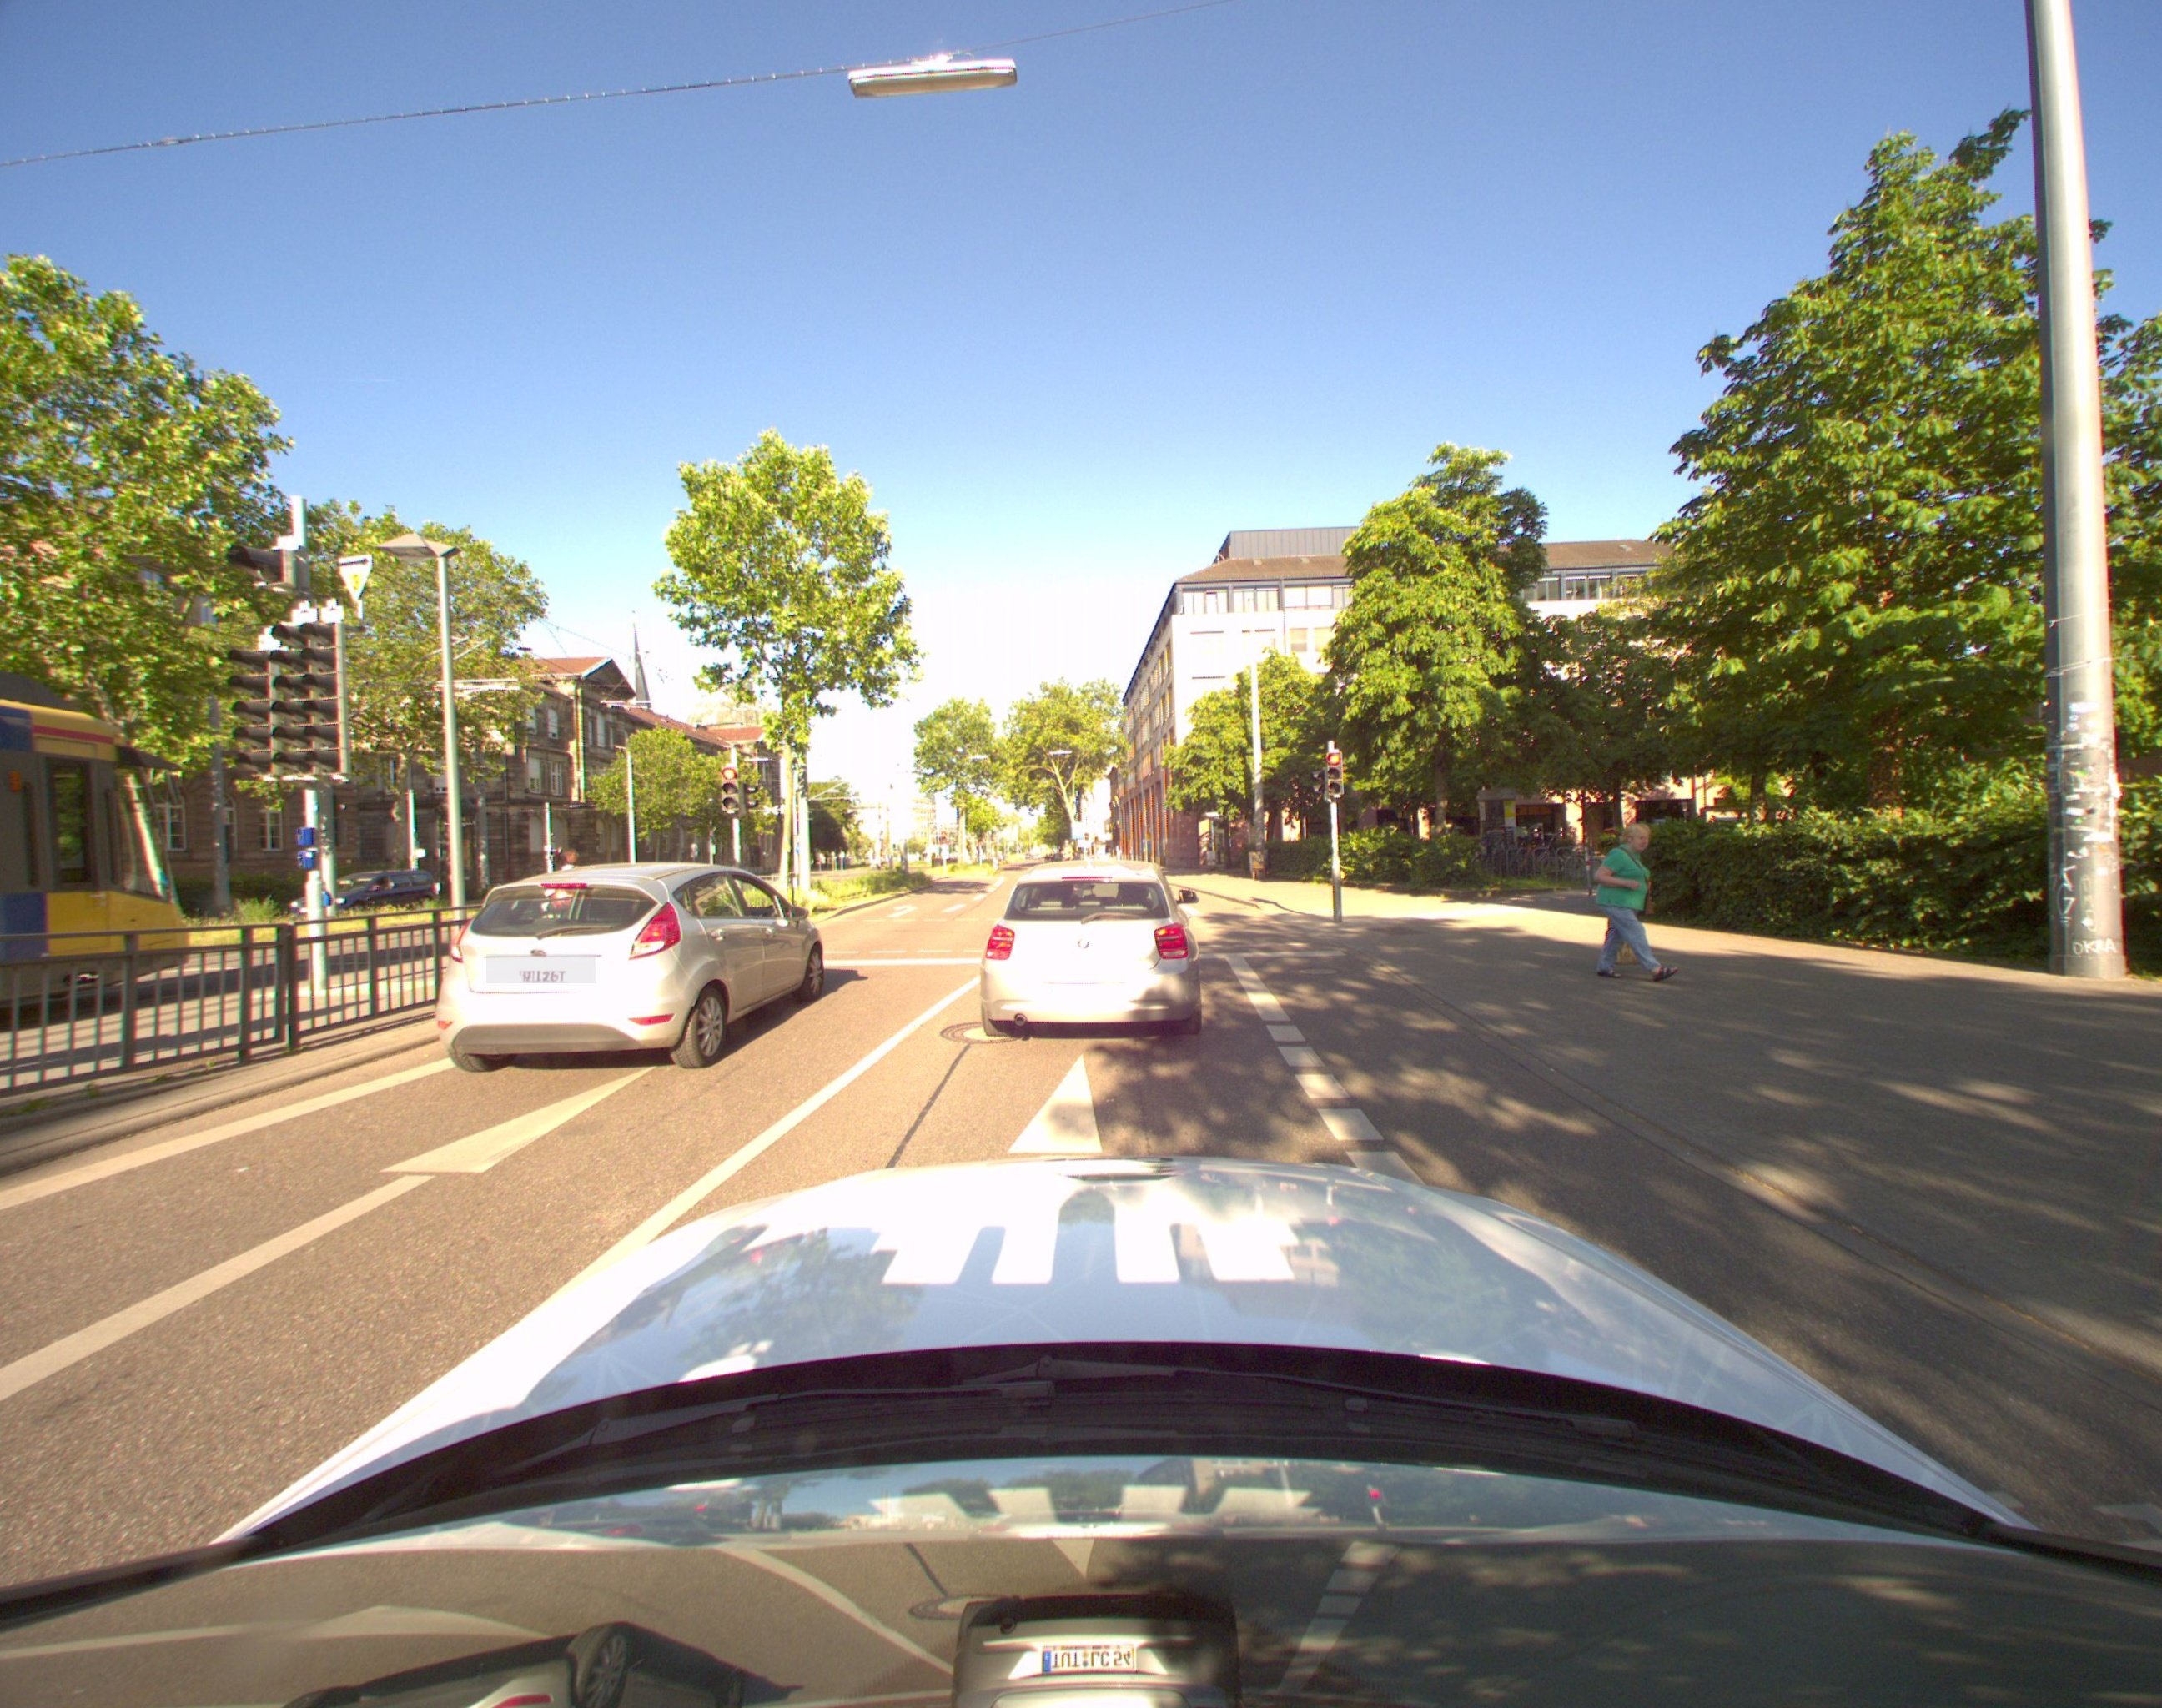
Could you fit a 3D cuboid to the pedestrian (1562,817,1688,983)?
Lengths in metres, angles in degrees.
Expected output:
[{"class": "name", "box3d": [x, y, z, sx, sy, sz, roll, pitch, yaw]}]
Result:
[{"class": "pedestrian", "box3d": [5.544, 0.443, 8.313, 0.743, 1.575, 0.822, -2, -1, -39]}]

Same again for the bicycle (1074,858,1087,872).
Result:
[{"class": "bicycle", "box3d": [-0.043, 0.888, 66.283, 0.827, 1.041, 1.878, -3, 0, 7]}]

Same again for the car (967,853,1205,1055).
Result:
[{"class": "car", "box3d": [0.203, 0.722, 7.832, 1.722, 1.390, 3.845, 0, 1, 5]}]

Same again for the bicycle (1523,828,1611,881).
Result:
[{"class": "bicycle", "box3d": [13.259, 0.019, 22.242, 1.989, 1.314, 0.574, -4, 0, 0]}]

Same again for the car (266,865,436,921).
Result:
[{"class": "car", "box3d": [-24.354, 1.235, 27.401, 1.986, 1.625, 4.002, -2, 0, 2]}]

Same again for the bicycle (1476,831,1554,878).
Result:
[{"class": "bicycle", "box3d": [13.211, 0.016, 24.804, 1.989, 1.314, 0.574, -4, 0, 0]}]

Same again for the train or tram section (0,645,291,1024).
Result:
[{"class": "train or tram section", "box3d": [-10.626, -0.228, 3.022, 2.907, 3.260, 13.102, 0, -1, -2]}]

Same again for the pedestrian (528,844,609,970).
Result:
[{"class": "pedestrian", "box3d": [-6.665, 0.668, 10.618, 0.630, 1.557, 0.645, -2, 0, -6]}]

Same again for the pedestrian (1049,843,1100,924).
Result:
[{"class": "pedestrian", "box3d": [-0.150, 0.591, 16.953, 0.941, 1.629, 0.626, -1, 0, -12]}]

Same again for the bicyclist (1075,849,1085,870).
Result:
[{"class": "bicyclist", "box3d": [-0.065, 0.454, 66.245, 0.655, 1.657, 0.766, -3, 0, 7]}]

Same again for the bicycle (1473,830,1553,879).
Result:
[{"class": "bicycle", "box3d": [12.819, 0.006, 24.190, 1.989, 1.314, 0.574, -4, 0, 0]}]

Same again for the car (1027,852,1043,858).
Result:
[{"class": "car", "box3d": [-12.253, 0.314, 218.778, 3.948, 1.486, 2.013, -2, 0, 40]}]

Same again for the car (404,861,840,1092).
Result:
[{"class": "car", "box3d": [-3.414, 0.778, 6.927, 1.655, 1.409, 3.631, -1, 0, -1]}]
